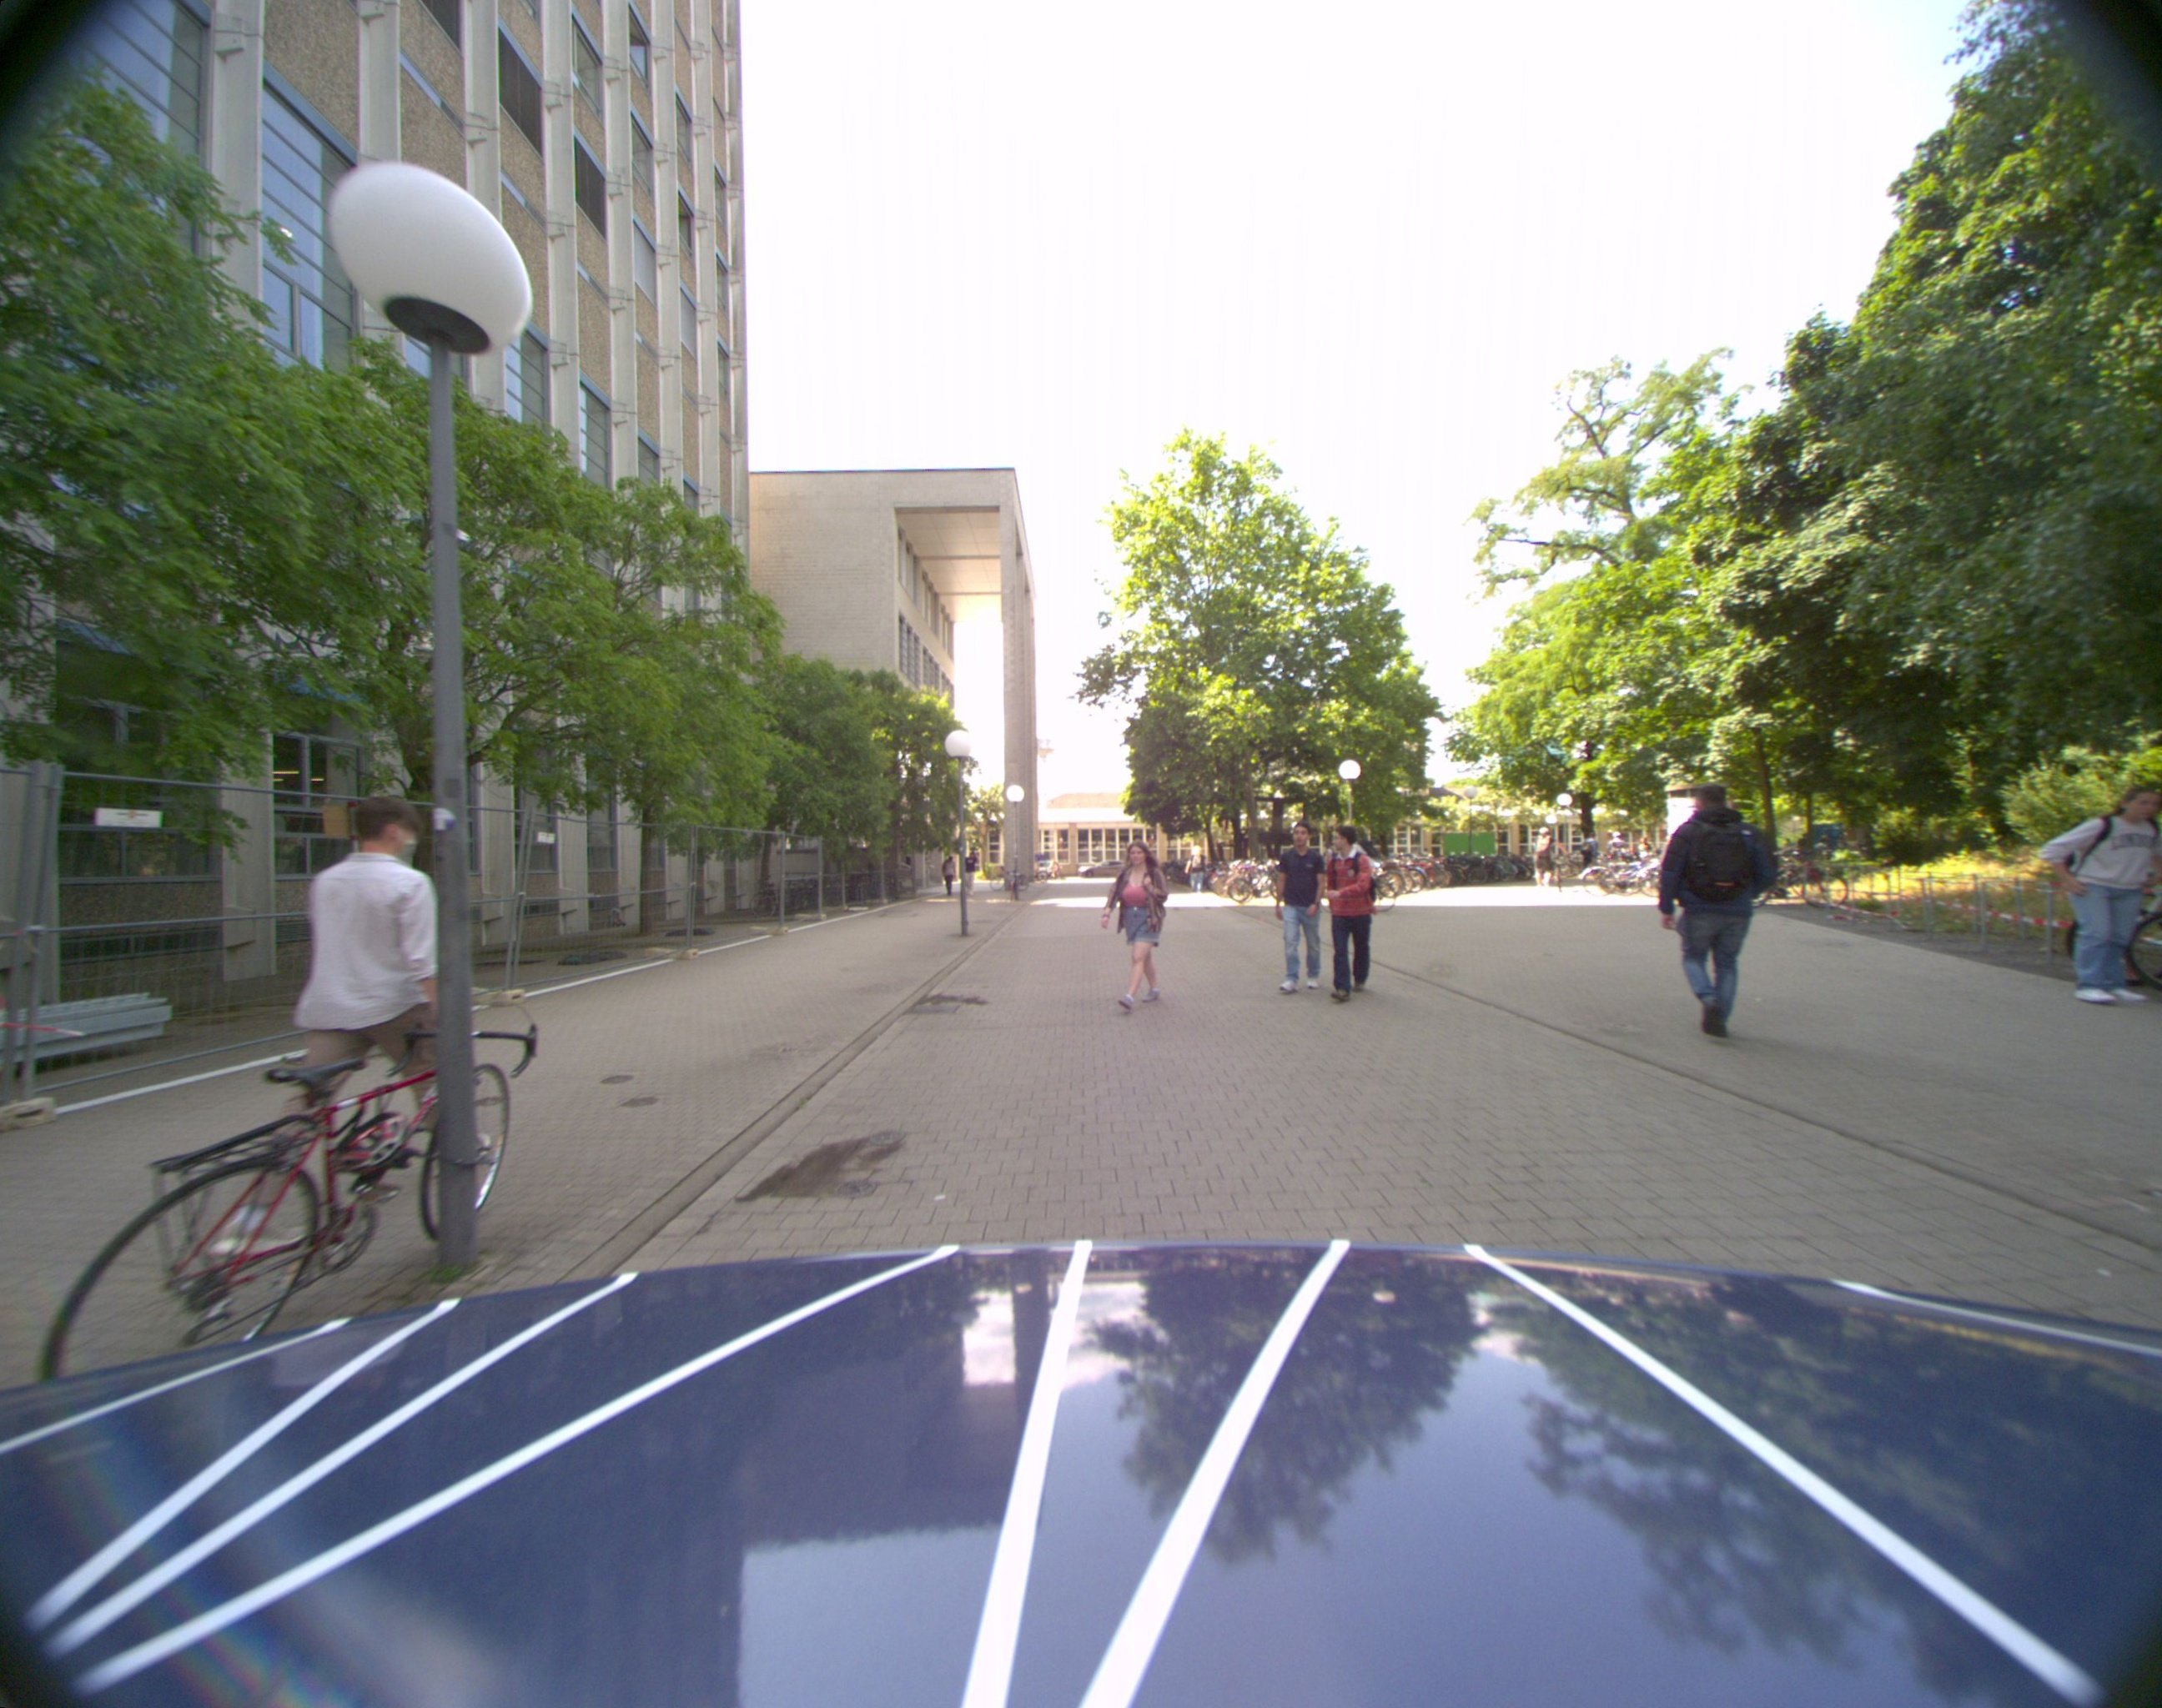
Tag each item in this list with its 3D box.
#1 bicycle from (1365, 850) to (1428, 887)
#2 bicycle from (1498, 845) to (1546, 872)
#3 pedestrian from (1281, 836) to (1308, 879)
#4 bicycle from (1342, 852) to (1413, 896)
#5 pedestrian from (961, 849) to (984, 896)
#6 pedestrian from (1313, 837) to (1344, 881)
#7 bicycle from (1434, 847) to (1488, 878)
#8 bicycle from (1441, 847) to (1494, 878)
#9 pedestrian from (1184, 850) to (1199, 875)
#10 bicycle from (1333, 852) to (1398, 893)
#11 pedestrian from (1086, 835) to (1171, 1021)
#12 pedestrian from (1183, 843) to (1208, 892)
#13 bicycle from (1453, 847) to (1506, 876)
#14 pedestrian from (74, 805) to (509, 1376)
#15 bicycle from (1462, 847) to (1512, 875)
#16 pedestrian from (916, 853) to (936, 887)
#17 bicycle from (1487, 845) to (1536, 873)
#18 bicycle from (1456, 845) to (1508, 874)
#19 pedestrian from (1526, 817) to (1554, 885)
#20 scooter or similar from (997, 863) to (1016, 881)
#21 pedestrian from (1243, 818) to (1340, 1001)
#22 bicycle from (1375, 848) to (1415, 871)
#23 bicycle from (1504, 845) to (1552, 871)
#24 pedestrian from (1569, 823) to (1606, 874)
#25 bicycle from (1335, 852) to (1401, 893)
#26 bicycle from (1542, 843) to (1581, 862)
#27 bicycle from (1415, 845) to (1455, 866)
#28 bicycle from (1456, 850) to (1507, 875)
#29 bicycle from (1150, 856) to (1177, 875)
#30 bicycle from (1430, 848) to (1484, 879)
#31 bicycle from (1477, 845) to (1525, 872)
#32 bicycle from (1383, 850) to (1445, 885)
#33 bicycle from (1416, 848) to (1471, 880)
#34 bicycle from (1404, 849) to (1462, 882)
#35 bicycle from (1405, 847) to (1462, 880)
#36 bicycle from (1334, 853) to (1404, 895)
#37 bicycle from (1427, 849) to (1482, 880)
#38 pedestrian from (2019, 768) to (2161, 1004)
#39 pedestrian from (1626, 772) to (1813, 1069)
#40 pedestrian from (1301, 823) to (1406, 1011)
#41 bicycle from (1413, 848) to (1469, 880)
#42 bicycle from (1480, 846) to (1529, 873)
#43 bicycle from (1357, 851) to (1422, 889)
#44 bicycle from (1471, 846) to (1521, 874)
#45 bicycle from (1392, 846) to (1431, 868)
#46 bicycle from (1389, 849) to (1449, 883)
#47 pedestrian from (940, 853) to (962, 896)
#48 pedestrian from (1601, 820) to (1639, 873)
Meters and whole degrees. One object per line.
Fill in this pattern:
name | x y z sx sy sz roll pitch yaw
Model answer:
bicycle | 9.754 0.452 23.540 1.695 1.077 0.475 -2 1 42
bicycle | 18.824 0.193 32.436 0.475 1.077 1.695 -3 1 -39
pedestrian | 9.159 0.165 32.563 0.771 1.796 0.708 -3 1 -33
bicycle | 7.899 0.531 20.299 1.697 1.104 0.474 -3 1 13
pedestrian | -4.273 0.727 29.958 0.703 1.792 0.881 -2 0 -18
pedestrian | 9.791 0.202 30.098 0.904 1.693 0.771 -2 1 37
bicycle | 14.164 0.316 28.334 1.695 1.077 0.475 -2 1 35
bicycle | 14.615 0.327 28.752 1.695 1.077 0.475 -2 1 35
pedestrian | 7.352 0.565 50.600 0.881 1.645 0.703 -2 0 12
bicycle | 8.179 0.534 21.862 1.696 1.077 0.475 -2 1 20
pedestrian | 0.447 0.696 7.495 0.686 1.714 0.731 -3 1 -2
pedestrian | 4.032 0.473 26.696 0.768 1.670 0.908 -2 0 13
bicycle | 15.285 0.304 29.145 1.695 1.077 0.475 -2 1 43
pedestrian | -3.051 0.770 3.124 0.786 1.834 1.116 -3 1 -24
bicycle | 16.296 0.277 30.530 0.475 1.077 1.695 -3 1 -39
pedestrian | -8.319 0.855 40.791 0.960 1.803 0.769 -3 1 -11
bicycle | 17.920 0.220 31.634 0.475 1.077 1.695 -3 1 -39
bicycle | 15.617 0.233 29.590 1.695 1.077 0.475 -2 1 43
pedestrian | 12.682 -0.083 20.986 0.612 1.825 1.052 -2 1 31
scooter or similar | -5.004 1.217 50.947 1.157 1.144 0.444 -2 0 5
pedestrian | 2.266 0.557 8.123 0.684 1.824 0.943 -2 0 35
bicycle | 16.081 0.287 38.922 0.503 1.101 1.902 -3 1 -33
bicycle | 19.254 0.174 32.785 0.475 1.077 1.695 -3 1 -39
pedestrian | 18.420 -0.206 27.628 0.884 1.804 0.833 -3 1 -37
bicycle | 8.054 0.517 21.353 1.696 1.077 0.475 -2 1 20
bicycle | 29.610 -0.093 46.885 0.503 1.101 2.026 -3 1 -27
bicycle | 19.287 0.083 41.439 0.503 1.101 2.001 -3 1 -30
bicycle | 15.928 0.350 30.221 0.453 0.956 1.735 -3 1 -39
bicycle | 5.143 0.737 47.332 1.628 1.101 0.497 -2 -2 0
bicycle | 13.806 0.347 27.945 1.695 1.077 0.475 -2 1 35
bicycle | 18.003 0.203 32.607 0.475 1.077 1.695 -3 1 -39
bicycle | 10.634 0.432 24.286 1.695 1.077 0.475 -2 1 38
bicycle | 12.988 0.372 27.243 1.695 1.077 0.475 -2 1 35
bicycle | 11.964 0.399 25.874 1.695 1.077 0.475 -2 1 35
bicycle | 12.203 0.335 26.303 1.695 1.077 0.475 -2 1 35
bicycle | 7.893 0.549 20.854 1.721 1.077 0.474 -2 1 15
bicycle | 13.518 0.386 27.525 1.695 1.077 0.475 -2 1 35
pedestrian | 7.943 0.236 5.920 0.687 1.714 0.729 -2 0 -36
pedestrian | 4.533 0.414 5.404 0.886 1.847 1.034 -3 1 42
pedestrian | 2.734 0.579 7.573 0.717 1.714 1.067 -2 0 33
bicycle | 12.719 0.369 26.844 1.695 1.077 0.475 -2 1 35
bicycle | 17.428 0.228 31.295 0.475 1.077 1.695 -3 1 -39
bicycle | 9.161 0.497 22.581 1.695 1.077 0.475 -2 1 42
bicycle | 16.804 0.247 30.770 0.475 1.077 1.695 -3 1 -39
bicycle | 17.435 0.180 40.100 0.503 1.101 1.902 -3 1 -30
bicycle | 11.204 0.409 25.211 1.695 1.077 0.475 -2 1 35
pedestrian | -5.127 0.803 29.945 0.703 1.645 0.881 -2 0 -18
pedestrian | 19.039 -0.261 26.850 0.985 1.793 0.768 -3 1 -36
